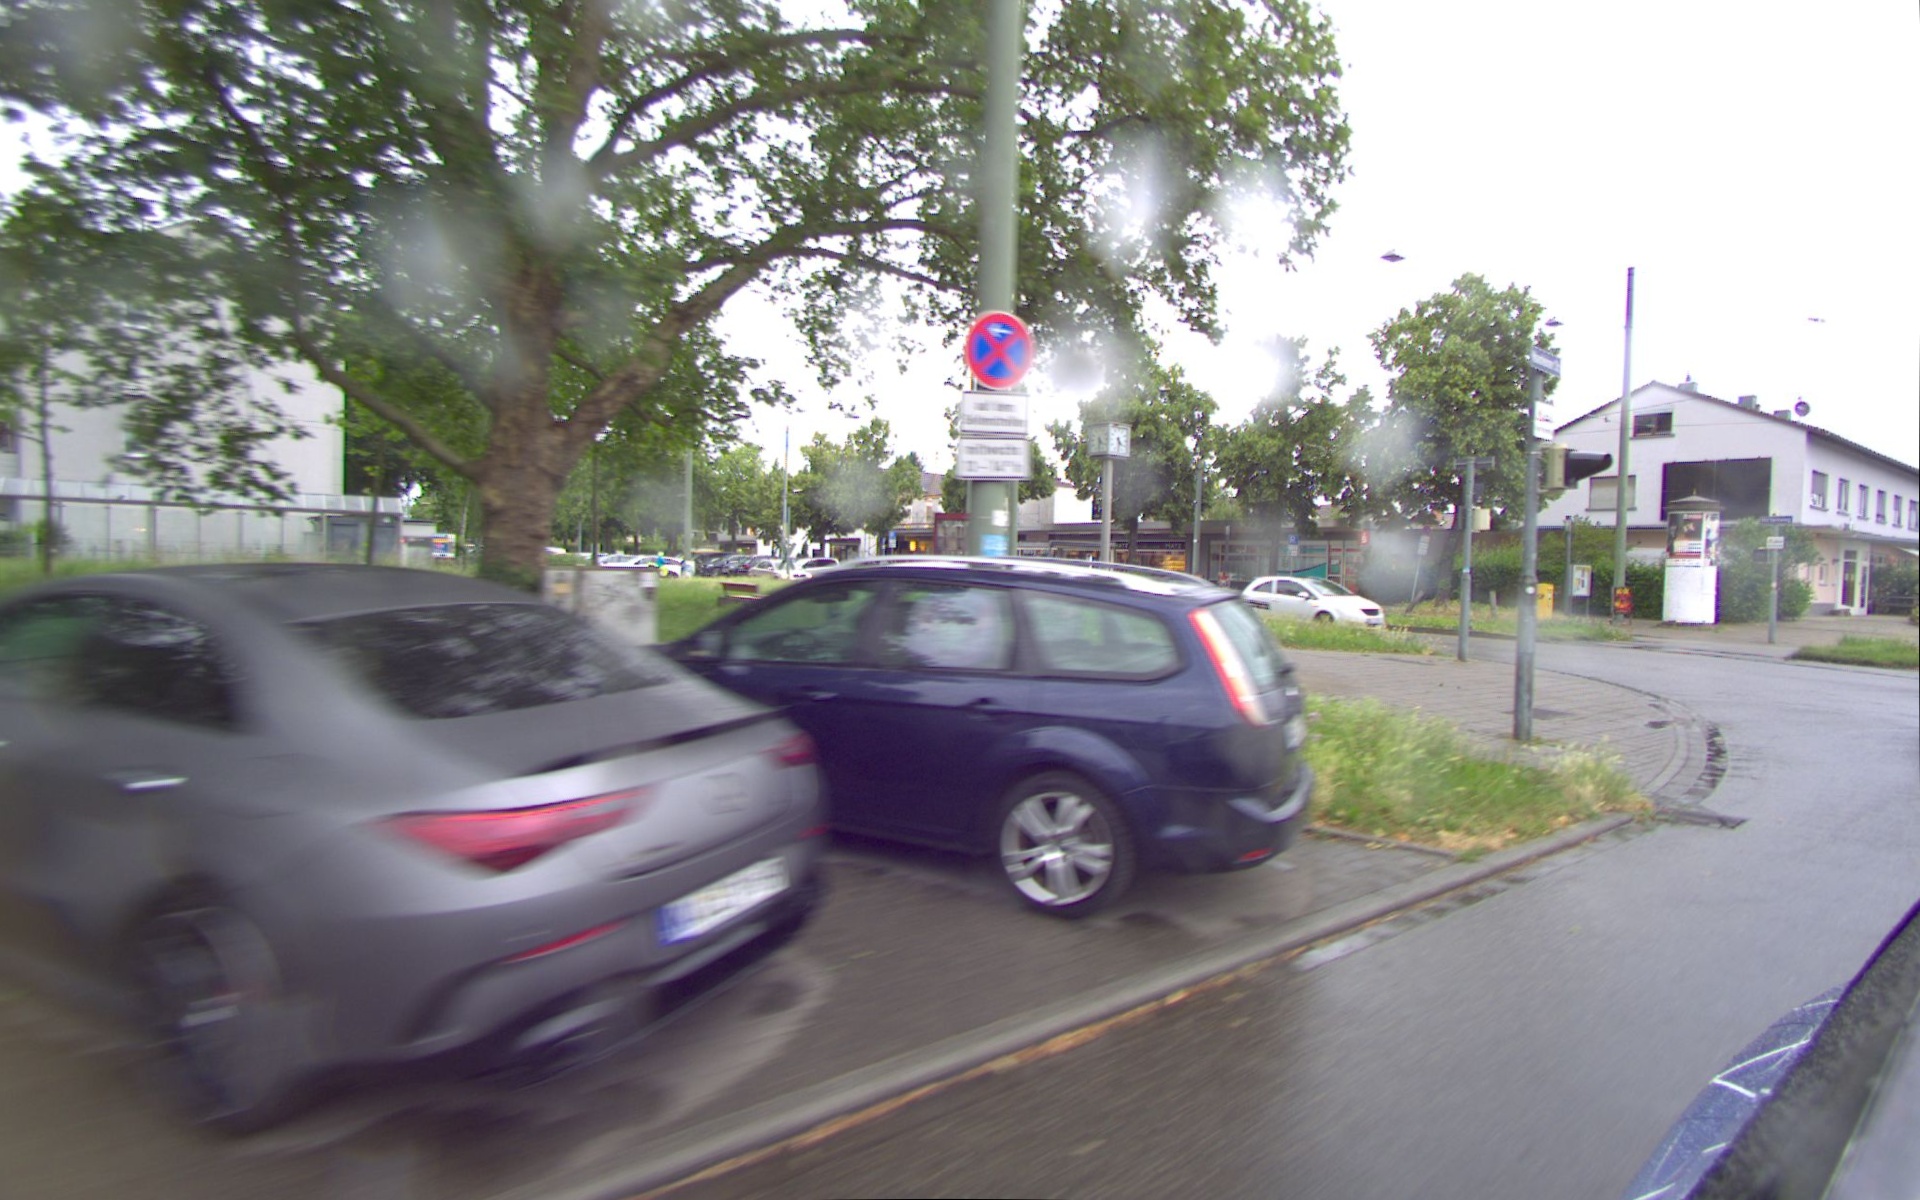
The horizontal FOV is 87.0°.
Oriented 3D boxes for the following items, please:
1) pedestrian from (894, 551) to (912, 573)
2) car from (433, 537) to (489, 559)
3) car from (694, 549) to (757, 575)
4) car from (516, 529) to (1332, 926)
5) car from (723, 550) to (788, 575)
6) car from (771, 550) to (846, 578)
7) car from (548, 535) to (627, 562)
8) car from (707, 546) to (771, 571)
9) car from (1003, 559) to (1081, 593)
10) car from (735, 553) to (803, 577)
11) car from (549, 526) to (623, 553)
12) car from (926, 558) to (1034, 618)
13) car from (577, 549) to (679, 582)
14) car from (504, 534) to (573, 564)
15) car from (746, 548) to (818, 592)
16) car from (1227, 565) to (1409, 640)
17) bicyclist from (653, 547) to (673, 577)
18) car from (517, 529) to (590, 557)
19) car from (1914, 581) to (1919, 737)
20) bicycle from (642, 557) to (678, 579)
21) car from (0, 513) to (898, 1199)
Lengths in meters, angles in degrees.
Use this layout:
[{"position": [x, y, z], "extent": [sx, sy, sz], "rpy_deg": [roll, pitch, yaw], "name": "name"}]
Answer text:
[{"position": [-4.445, -2.982, 79.340], "extent": [1.058, 1.735, 0.950], "rpy_deg": [1, 3, -26], "name": "pedestrian"}, {"position": [-46.971, -4.931, 95.282], "extent": [4.367, 2.086, 1.721], "rpy_deg": [-3, 4, -40], "name": "car"}, {"position": [-17.094, -2.809, 73.820], "extent": [4.017, 1.729, 1.898], "rpy_deg": [-3, 4, -38], "name": "car"}, {"position": [-0.197, 0.426, 5.586], "extent": [4.130, 1.494, 1.791], "rpy_deg": [3, 2, 23], "name": "car"}, {"position": [-14.155, -2.611, 70.137], "extent": [4.017, 1.730, 1.898], "rpy_deg": [-2, 3, -38], "name": "car"}, {"position": [-9.485, -2.270, 63.620], "extent": [4.259, 1.694, 1.999], "rpy_deg": [-2, 3, -38], "name": "car"}, {"position": [-21.500, -2.981, 58.442], "extent": [3.925, 1.504, 1.723], "rpy_deg": [-2, 4, -35], "name": "car"}, {"position": [-15.653, -2.943, 71.810], "extent": [4.017, 1.730, 1.898], "rpy_deg": [-2, 3, -38], "name": "car"}, {"position": [4.017, -1.202, 49.708], "extent": [3.602, 1.521, 1.532], "rpy_deg": [2, 4, 37], "name": "car"}, {"position": [-12.788, -2.371, 67.885], "extent": [4.017, 1.590, 1.999], "rpy_deg": [-2, 3, -38], "name": "car"}, {"position": [-22.948, -3.725, 62.085], "extent": [3.925, 1.605, 1.723], "rpy_deg": [-2, 4, -35], "name": "car"}, {"position": [0.698, -0.519, 37.710], "extent": [1.964, 2.038, 3.999], "rpy_deg": [-2, 4, -37], "name": "car"}, {"position": [-17.675, -1.830, 54.017], "extent": [4.750, 1.476, 2.000], "rpy_deg": [2, 1, -36], "name": "car"}, {"position": [-30.817, -3.766, 74.057], "extent": [4.367, 2.086, 1.721], "rpy_deg": [-3, 4, -40], "name": "car"}, {"position": [-8.933, -1.532, 50.626], "extent": [1.963, 2.037, 4.001], "rpy_deg": [-3, 4, -36], "name": "car"}, {"position": [9.196, -0.012, 26.279], "extent": [1.927, 1.571, 4.001], "rpy_deg": [-1, 5, -36], "name": "car"}, {"position": [-15.422, -1.974, 52.543], "extent": [0.720, 1.535, 0.690], "rpy_deg": [1, 1, 35], "name": "bicyclist"}, {"position": [-28.016, -3.927, 69.742], "extent": [4.362, 1.868, 1.723], "rpy_deg": [-2, 4, -35], "name": "car"}, {"position": [10.018, 0.654, 8.726], "extent": [1.705, 1.644, 3.678], "rpy_deg": [0, 1, 29], "name": "car"}, {"position": [-15.507, -1.645, 52.410], "extent": [0.724, 1.144, 1.732], "rpy_deg": [1, 2, 35], "name": "bicycle"}, {"position": [-2.646, 0.473, 3.789], "extent": [4.500, 1.494, 1.790], "rpy_deg": [3, 2, 24], "name": "car"}]
